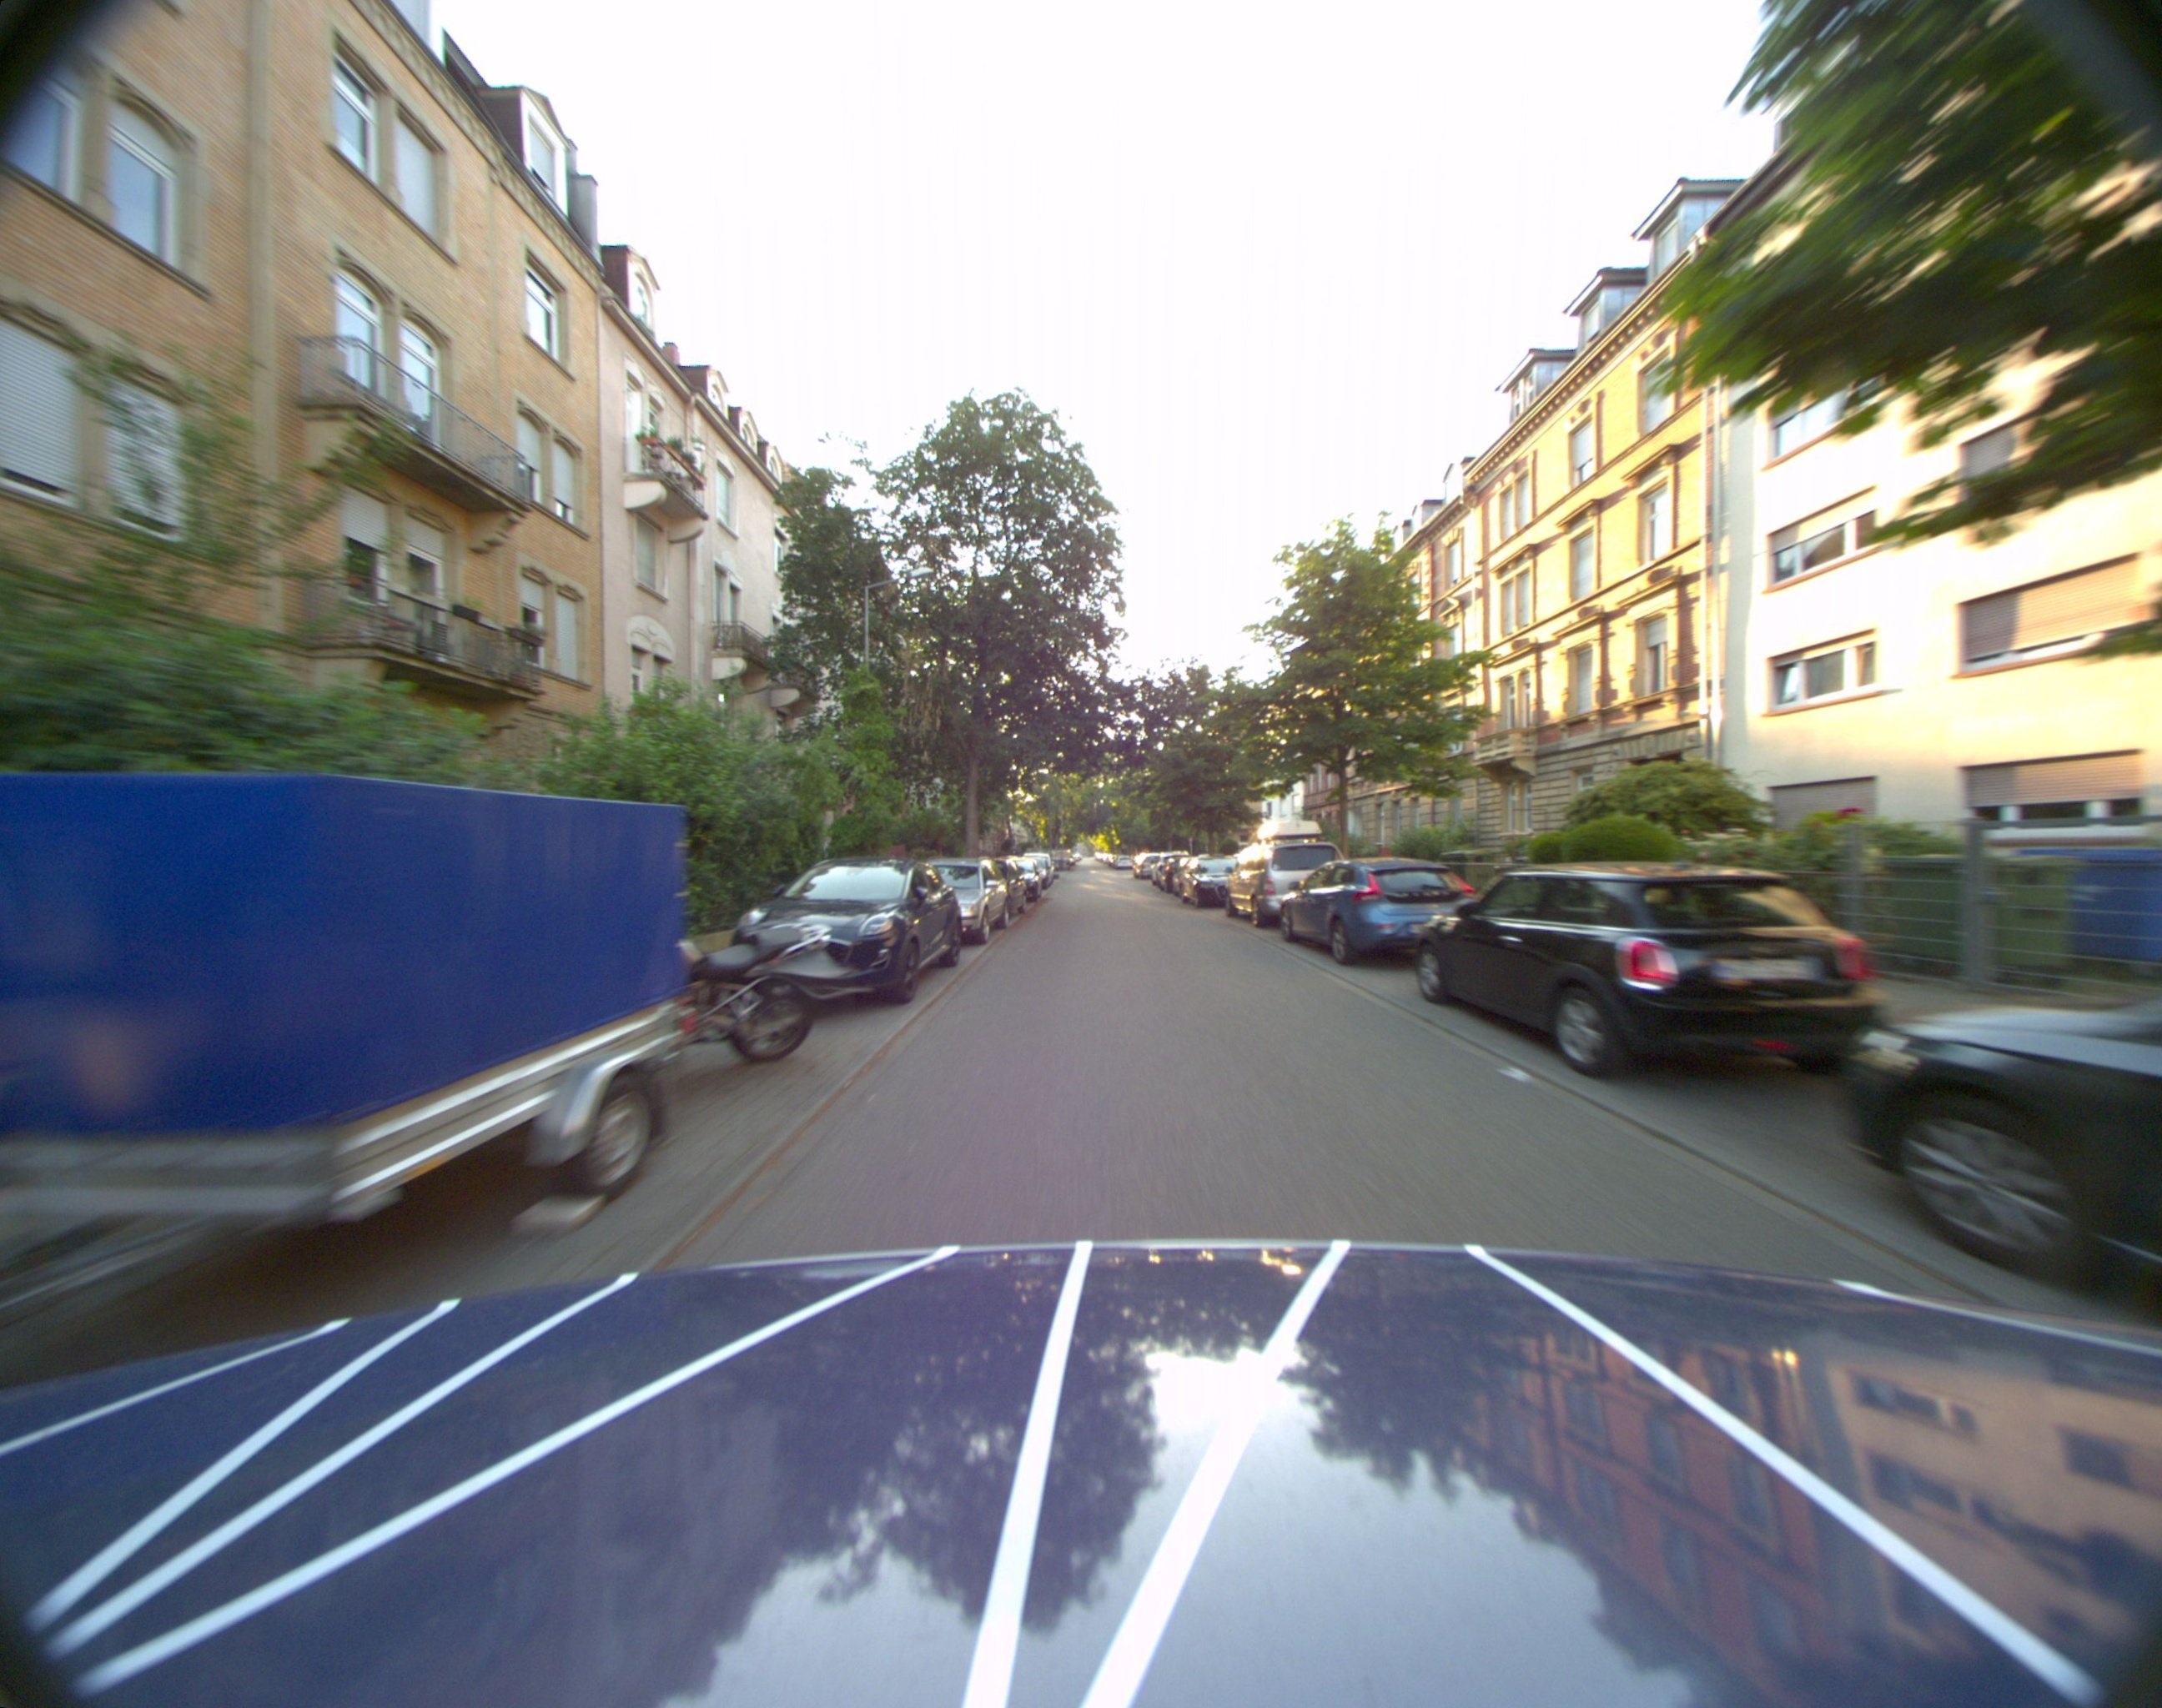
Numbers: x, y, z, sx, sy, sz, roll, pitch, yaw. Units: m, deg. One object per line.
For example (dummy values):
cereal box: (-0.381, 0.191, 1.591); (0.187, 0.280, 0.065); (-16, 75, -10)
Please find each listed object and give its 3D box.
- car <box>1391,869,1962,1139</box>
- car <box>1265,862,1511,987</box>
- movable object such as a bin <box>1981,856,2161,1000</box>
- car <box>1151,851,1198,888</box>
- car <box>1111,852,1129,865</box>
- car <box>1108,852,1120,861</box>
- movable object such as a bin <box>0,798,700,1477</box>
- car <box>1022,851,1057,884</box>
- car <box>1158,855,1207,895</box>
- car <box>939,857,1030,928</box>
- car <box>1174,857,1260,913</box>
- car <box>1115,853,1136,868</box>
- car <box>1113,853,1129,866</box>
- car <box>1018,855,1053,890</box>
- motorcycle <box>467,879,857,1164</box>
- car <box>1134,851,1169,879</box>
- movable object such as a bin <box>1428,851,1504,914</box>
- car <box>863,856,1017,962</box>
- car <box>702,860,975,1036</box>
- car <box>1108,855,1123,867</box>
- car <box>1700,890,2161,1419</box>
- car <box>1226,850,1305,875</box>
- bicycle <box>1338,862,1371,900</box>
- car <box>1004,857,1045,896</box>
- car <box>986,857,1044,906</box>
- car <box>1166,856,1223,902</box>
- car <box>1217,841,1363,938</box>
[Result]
car: (4.280, 0.920, 6.465); (1.746, 1.412, 4.143); (-2, 1, 3)
car: (4.326, 0.884, 11.620); (1.866, 1.404, 4.590); (-2, 0, 0)
movable object such as a bin: (10.745, 0.719, 8.008); (0.868, 1.344, 1.398); (-2, 1, 2)
car: (4.494, 0.710, 37.085); (1.866, 1.653, 4.021); (-2, 1, 1)
car: (4.516, 0.501, 87.960); (1.840, 1.484, 3.641); (-2, 1, 0)
car: (5.765, 0.497, 132.043); (1.840, 1.484, 3.641); (-2, 1, 0)
movable object such as a bin: (-2.922, 0.770, 3.242); (1.415, 1.867, 2.324); (1, 1, 0)
car: (-2.263, 0.718, 42.125); (1.737, 1.692, 4.167); (-2, 1, -1)
car: (4.202, 0.847, 31.842); (1.682, 1.490, 3.625); (-2, 1, 2)
car: (-2.317, 0.878, 19.029); (1.590, 1.516, 3.602); (-2, 0, 3)
car: (3.982, 0.854, 22.874); (1.732, 1.433, 4.023); (-2, 1, -1)
car: (4.811, 0.696, 82.321); (1.953, 1.484, 3.738); (-2, 1, 0)
car: (4.920, 0.670, 93.689); (1.840, 1.484, 3.641); (-2, 1, 0)
car: (-2.130, 0.836, 36.508); (1.502, 1.538, 3.338); (-2, 1, -1)
motorcycle: (-2.736, 0.939, 5.145); (2.099, 1.474, 1.130); (0, 1, -33)
car: (4.487, 0.668, 48.644); (1.677, 1.627, 3.939); (-2, 1, -2)
movable object such as a bin: (9.138, 0.648, 18.106); (0.948, 1.379, 1.551); (-2, 1, -3)
car: (-2.453, 0.889, 14.532); (1.760, 1.573, 4.842); (-2, 0, 3)
car: (-2.579, 0.902, 9.280); (1.724, 1.542, 4.325); (-2, 1, 3)
car: (4.810, 0.971, 105.992); (1.840, 1.484, 3.641); (-2, 1, 0)
car: (4.074, 0.950, 1.694); (1.679, 1.453, 4.462); (-2, 0, -1)
car: (11.177, 0.504, 46.190); (4.412, 1.333, 1.625); (-2, 1, 1)
bicycle: (8.535, 0.819, 23.756); (0.457, 1.103, 1.633); (-2, 1, 1)
car: (-2.323, 0.901, 32.107); (1.479, 1.498, 3.928); (-2, 1, -1)
car: (-2.267, 0.914, 26.893); (1.737, 1.498, 4.163); (-2, 1, -1)
car: (4.062, 0.857, 27.590); (1.441, 1.485, 3.298); (-2, 1, -1)
car: (4.352, 0.652, 16.624); (1.866, 1.769, 4.622); (-2, 1, 0)
